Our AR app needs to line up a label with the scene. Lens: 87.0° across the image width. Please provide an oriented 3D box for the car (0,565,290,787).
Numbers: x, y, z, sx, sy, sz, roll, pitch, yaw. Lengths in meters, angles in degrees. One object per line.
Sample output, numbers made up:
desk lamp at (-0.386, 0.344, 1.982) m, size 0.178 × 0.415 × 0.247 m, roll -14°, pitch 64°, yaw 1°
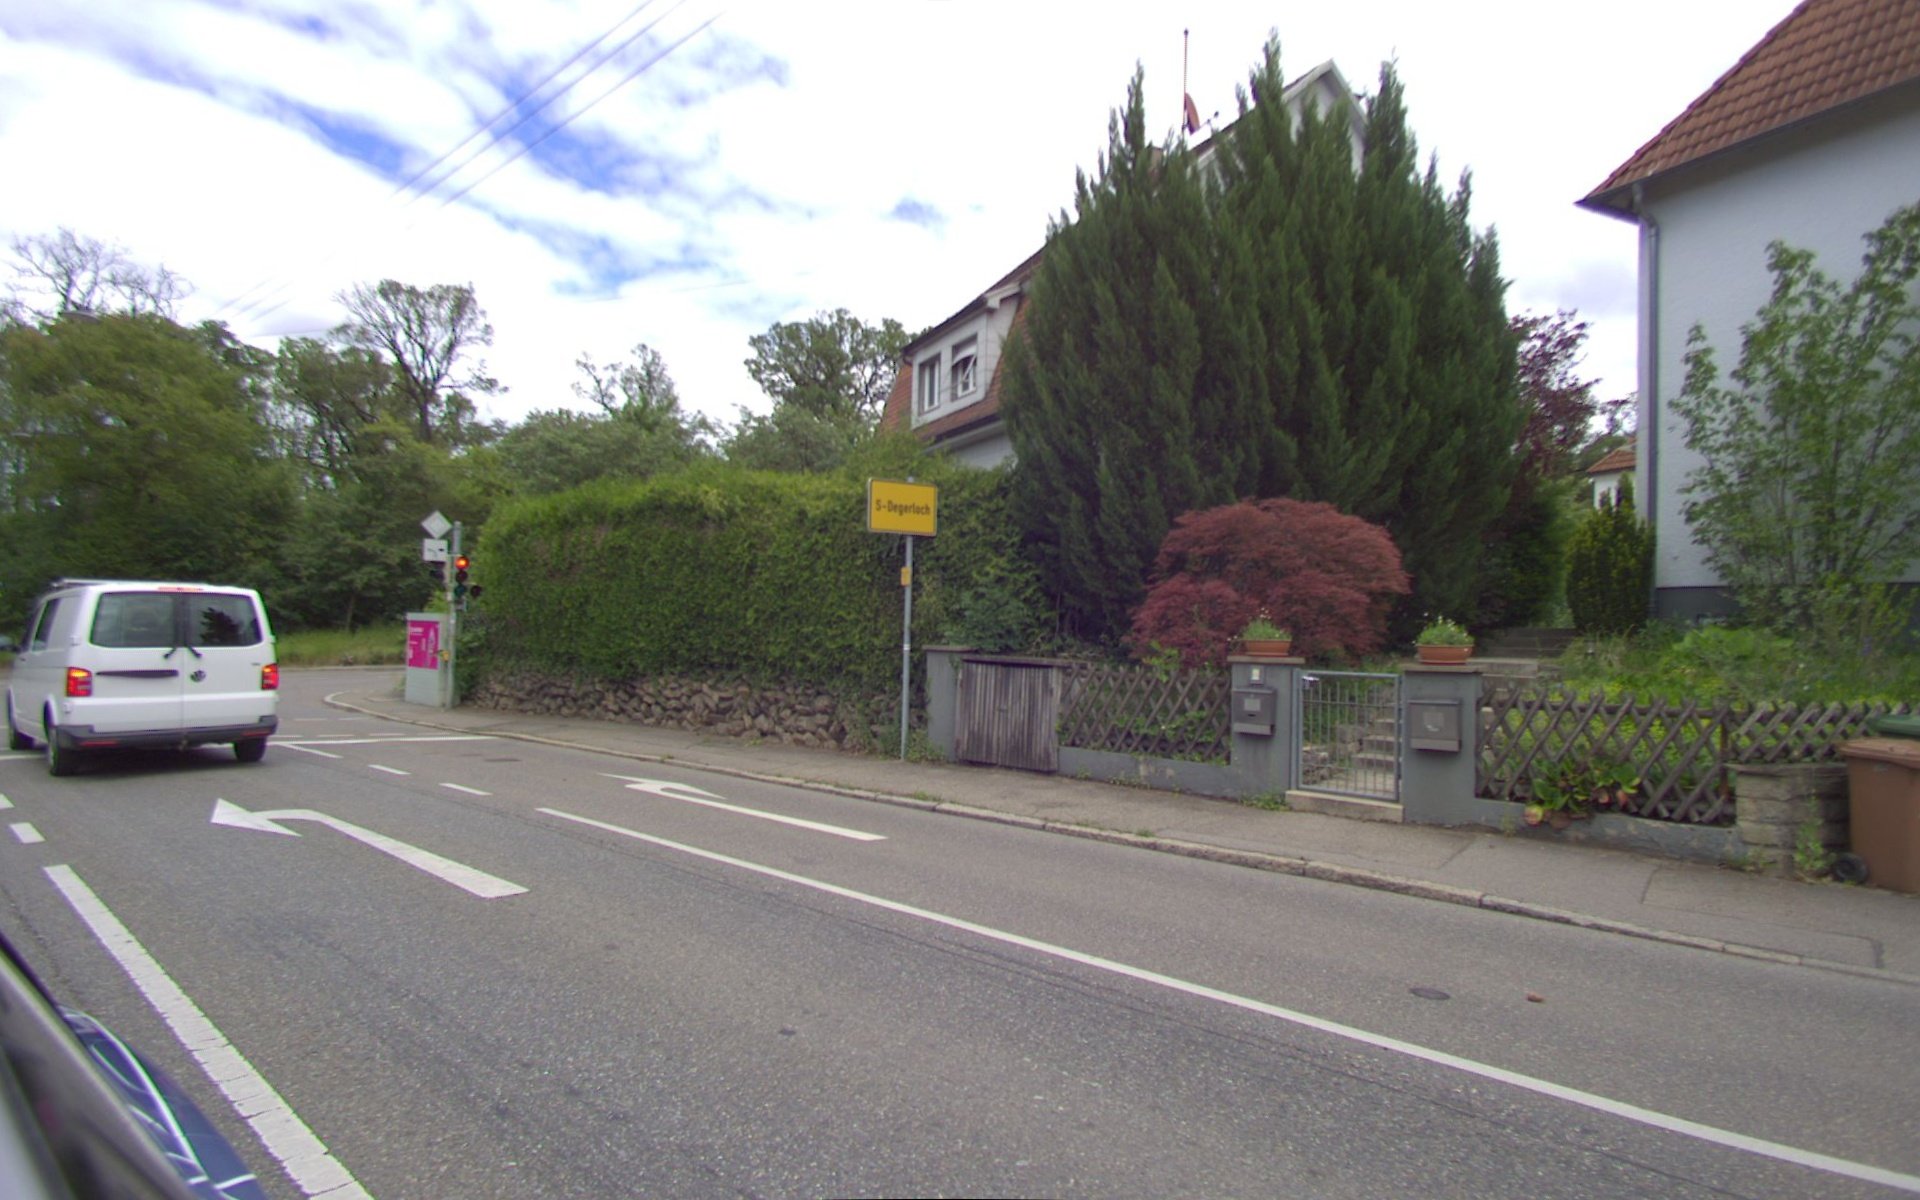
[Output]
car at (-9.755, 0.794, 11.864) m, size 5.169 × 2.063 × 1.838 m, roll -2°, pitch -3°, yaw 42°

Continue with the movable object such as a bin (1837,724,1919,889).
movable object such as a bin at (6.019, 1.289, 6.327) m, size 0.457 × 0.949 × 0.649 m, roll 1°, pitch -2°, yaw -19°

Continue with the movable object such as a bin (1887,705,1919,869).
movable object such as a bin at (6.538, 1.227, 6.488) m, size 0.472 × 1.042 × 0.718 m, roll 1°, pitch -2°, yaw -20°
